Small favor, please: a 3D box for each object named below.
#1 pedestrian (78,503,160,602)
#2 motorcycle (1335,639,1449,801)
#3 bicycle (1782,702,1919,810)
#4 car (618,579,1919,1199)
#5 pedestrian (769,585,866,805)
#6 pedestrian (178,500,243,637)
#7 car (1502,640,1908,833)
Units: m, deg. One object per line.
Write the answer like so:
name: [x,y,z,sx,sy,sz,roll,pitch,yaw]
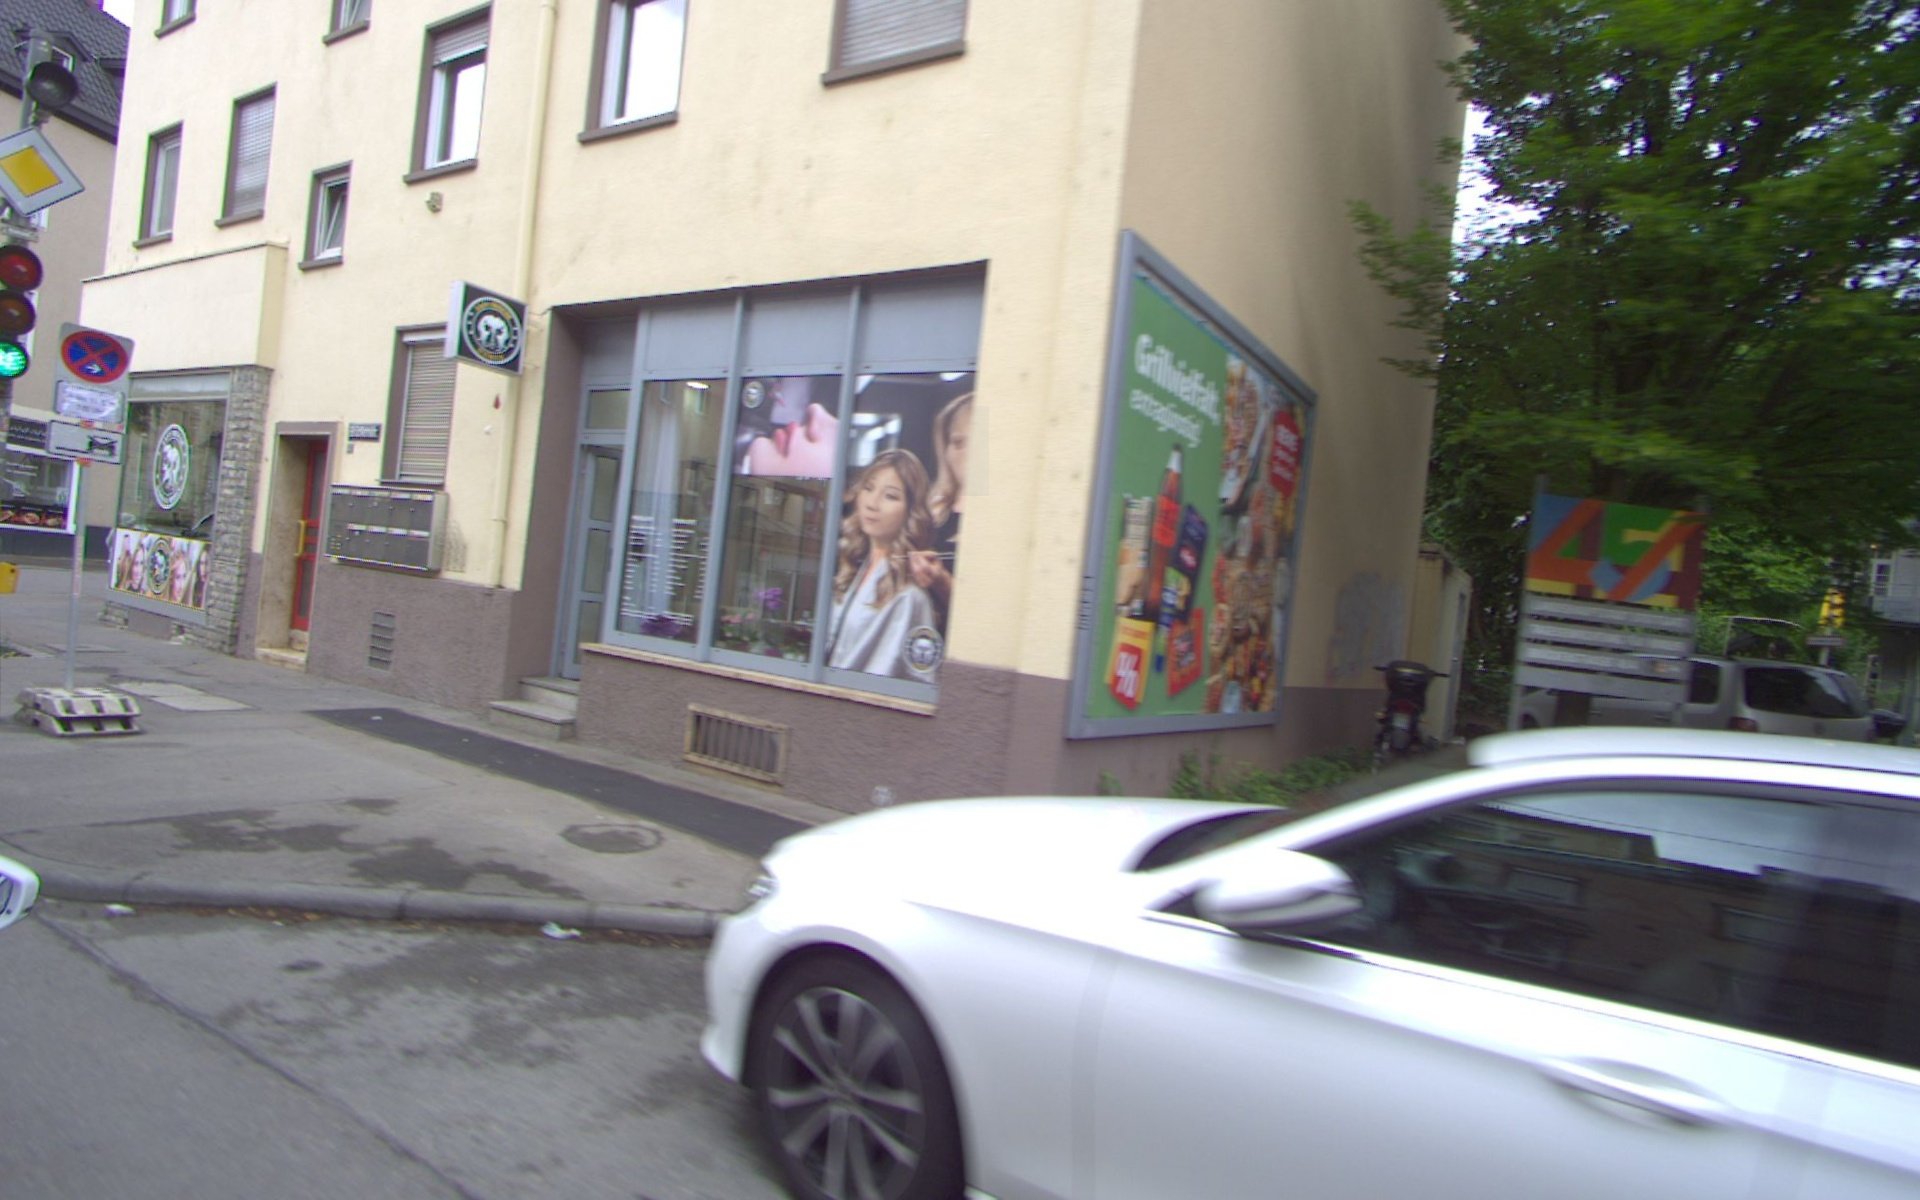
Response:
pedestrian: [-15.195,-0.842,18.196,0.786,1.685,0.675,5,0,-5]
motorcycle: [4.062,1.039,9.374,0.663,1.218,1.992,5,3,30]
bicycle: [11.294,1.923,12.236,0.453,1.125,1.882,7,-2,-39]
car: [1.510,0.939,2.270,4.708,1.483,1.769,6,-1,35]
pedestrian: [-1.049,0.691,7.430,0.412,1.549,0.372,5,-1,34]
pedestrian: [-10.199,-0.417,13.698,0.380,1.795,0.396,6,-1,-2]
car: [8.420,1.439,11.873,1.635,1.629,3.831,6,-1,-4]
